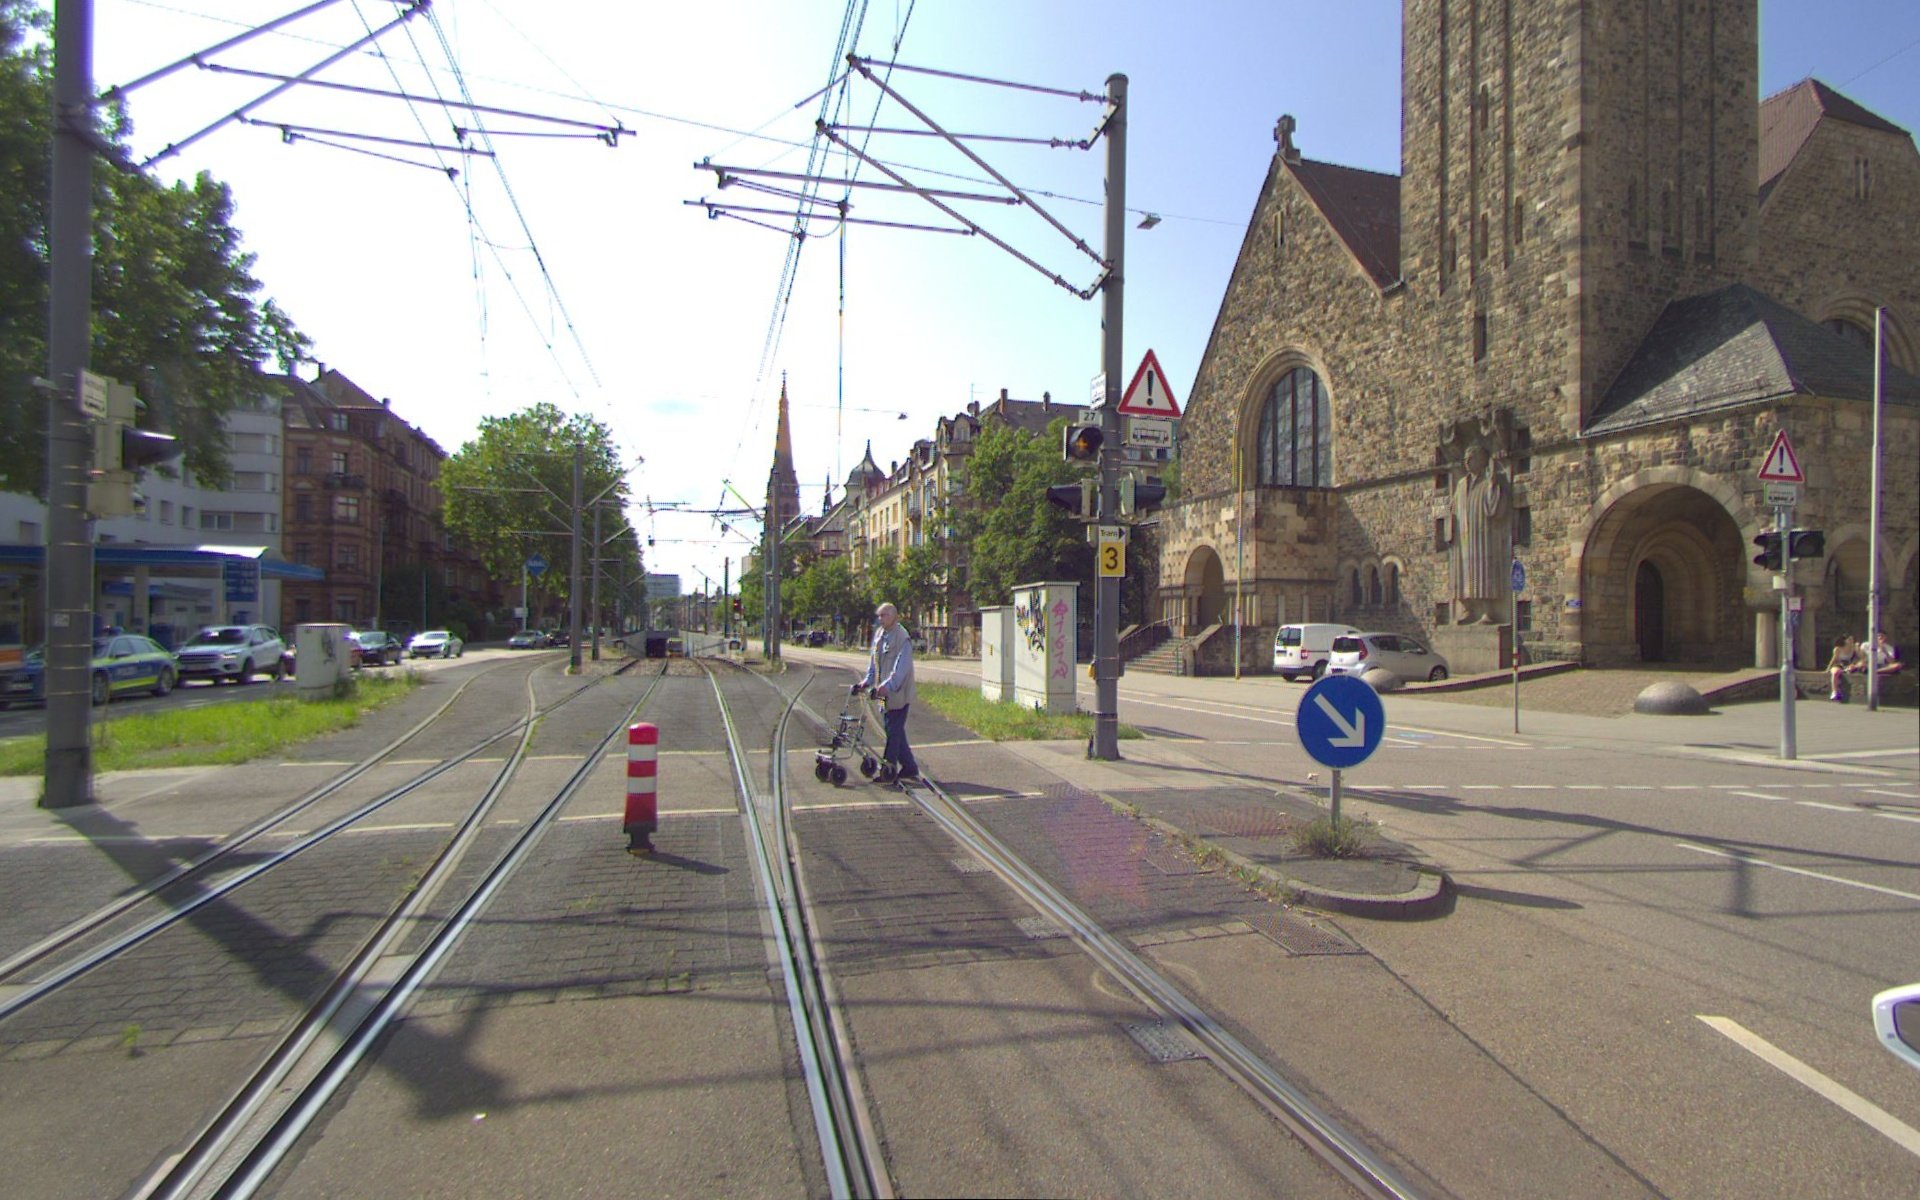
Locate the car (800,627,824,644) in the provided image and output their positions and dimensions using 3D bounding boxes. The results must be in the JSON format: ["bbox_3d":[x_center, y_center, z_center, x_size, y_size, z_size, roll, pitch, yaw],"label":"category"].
[{"bbox_3d":[-14.089,3.369,95.486,1.664,1.522,4.692,1,-1,-16],"label":"car"}]

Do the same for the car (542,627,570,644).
[{"bbox_3d":[-36.564,3.180,90.928,1.644,1.435,3.774,1,-1,-12],"label":"car"}]

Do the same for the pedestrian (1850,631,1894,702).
[{"bbox_3d":[19.336,1.407,21.304,0.548,1.426,0.517,-2,4,26],"label":"pedestrian"}]

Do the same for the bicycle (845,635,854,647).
[{"bbox_3d":[-10.435,3.880,94.952,0.422,1.155,2.016,-2,-1,-17],"label":"bicycle"}]

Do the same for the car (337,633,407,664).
[{"bbox_3d":[-24.479,1.990,41.914,1.595,1.204,3.622,1,-1,-16],"label":"car"}]

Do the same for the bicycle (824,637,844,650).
[{"bbox_3d":[-10.925,3.757,86.982,1.687,1.083,0.469,1,-2,-23],"label":"bicycle"}]

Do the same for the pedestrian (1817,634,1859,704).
[{"bbox_3d":[18.839,1.470,21.555,0.548,1.426,0.517,-2,4,26],"label":"pedestrian"}]

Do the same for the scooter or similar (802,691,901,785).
[{"bbox_3d":[-1.046,1.310,9.680,0.828,0.815,0.551,1,-1,-22],"label":"scooter or similar"}]

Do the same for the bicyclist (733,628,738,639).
[{"bbox_3d":[-38.219,5.718,170.987,0.760,1.753,1.023,1,-2,-16],"label":"bicyclist"}]

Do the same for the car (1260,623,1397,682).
[{"bbox_3d":[12.055,1.709,32.891,3.954,1.848,1.855,1,-1,-20],"label":"car"}]

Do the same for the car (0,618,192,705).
[{"bbox_3d":[-19.109,1.253,22.076,1.842,1.674,5.135,-1,-1,-17],"label":"car"}]

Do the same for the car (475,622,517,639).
[{"bbox_3d":[-55.448,3.615,120.102,4.347,1.943,1.992,2,-2,-19],"label":"car"}]

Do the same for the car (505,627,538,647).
[{"bbox_3d":[-33.644,2.827,77.170,1.699,1.435,4.391,0,-1,-16],"label":"car"}]

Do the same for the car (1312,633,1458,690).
[{"bbox_3d":[12.481,1.785,29.540,3.720,1.567,1.790,1,-1,-19],"label":"car"}]

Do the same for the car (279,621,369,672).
[{"bbox_3d":[-22.717,1.624,36.038,1.690,1.628,4.128,1,0,-17],"label":"car"}]

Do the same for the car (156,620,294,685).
[{"bbox_3d":[-21.008,1.437,28.944,1.737,1.628,4.661,1,0,-17],"label":"car"}]

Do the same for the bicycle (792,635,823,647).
[{"bbox_3d":[-15.455,4.157,101.832,2.921,1.262,0.787,2,-2,-30],"label":"bicycle"}]

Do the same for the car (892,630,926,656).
[{"bbox_3d":[-3.120,2.618,61.083,1.643,1.435,3.839,3,-2,-9],"label":"car"}]

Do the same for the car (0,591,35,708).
[{"bbox_3d":[-16.978,0.846,15.346,2.048,2.013,5.315,1,0,-17],"label":"car"}]

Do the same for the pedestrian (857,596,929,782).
[{"bbox_3d":[-0.663,0.855,9.847,0.520,1.755,0.554,2,-1,-22],"label":"pedestrian"}]

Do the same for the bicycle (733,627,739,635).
[{"bbox_3d":[-38.213,5.314,171.003,0.788,1.253,2.768,1,-2,-16],"label":"bicycle"}]

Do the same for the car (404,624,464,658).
[{"bbox_3d":[-27.964,2.141,53.551,1.922,1.628,5.057,1,0,-17],"label":"car"}]
